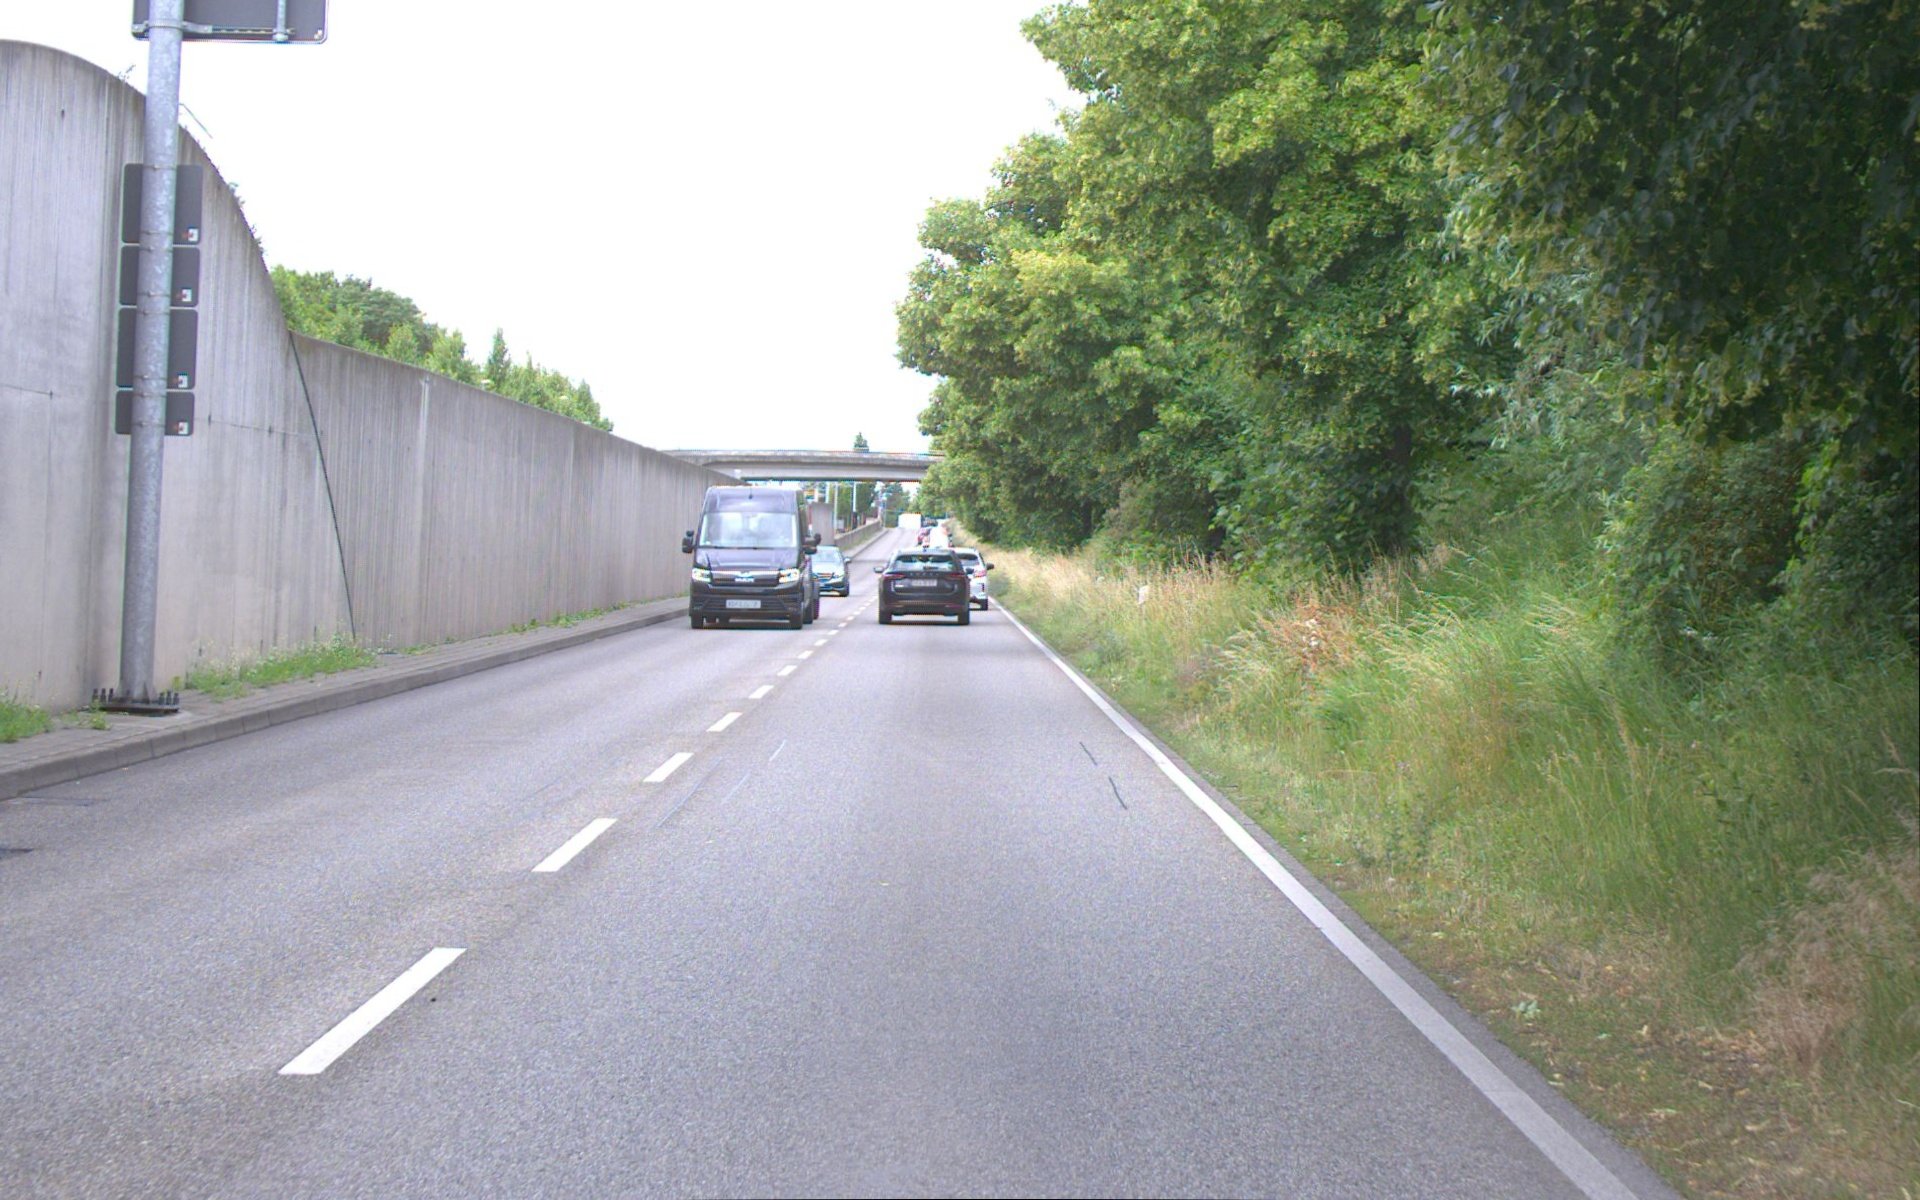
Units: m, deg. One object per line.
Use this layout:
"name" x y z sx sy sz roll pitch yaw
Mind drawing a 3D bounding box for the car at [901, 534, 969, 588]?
"car" -0.786 -1.197 104.929 1.866 1.485 4.257 4 1 -2

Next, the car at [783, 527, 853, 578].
"car" -4.244 -1.431 103.353 1.892 1.478 4.823 1 1 0

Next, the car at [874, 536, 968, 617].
"car" -0.794 -0.453 66.933 1.754 1.518 4.037 -1 0 -1

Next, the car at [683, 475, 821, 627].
"car" -3.784 -0.914 63.733 2.109 2.621 7.417 1 1 0

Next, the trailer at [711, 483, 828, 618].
"trailer" -3.824 -1.004 69.639 2.109 2.621 4.372 1 1 0

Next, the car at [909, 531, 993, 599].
"car" -0.243 -0.832 82.932 1.754 1.518 4.037 -1 -1 -4
